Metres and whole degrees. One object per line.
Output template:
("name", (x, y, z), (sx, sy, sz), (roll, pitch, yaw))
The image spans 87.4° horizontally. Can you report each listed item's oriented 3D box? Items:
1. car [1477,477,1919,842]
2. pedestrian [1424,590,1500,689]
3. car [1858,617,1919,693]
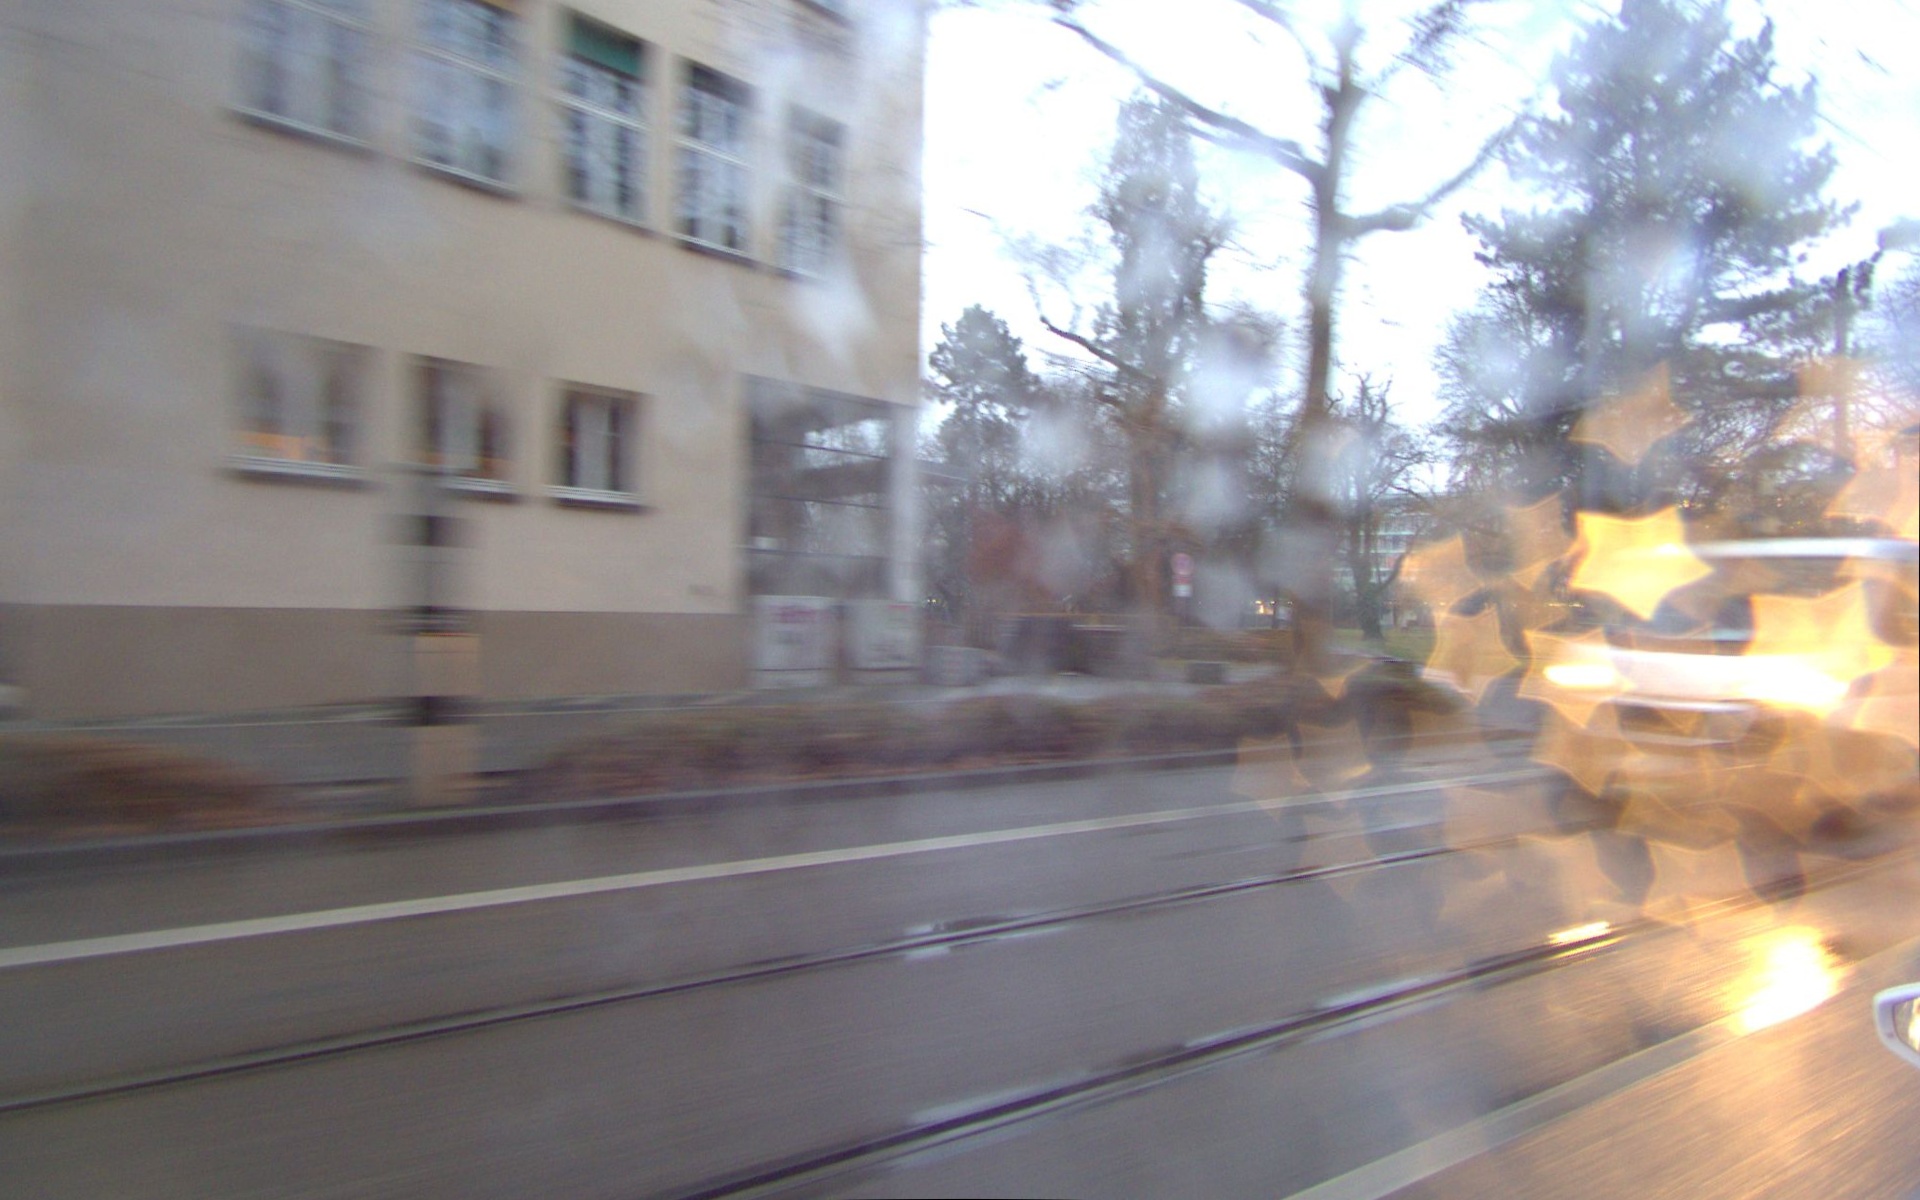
("car", (7.564, 0.483, 9.076), (5.777, 2.378, 2.435), (2, -1, -30))
("pedestrian", (9.688, 0.751, 19.398), (0.997, 1.839, 0.817), (2, 0, -27))
("car", (22.906, 1.302, 23.417), (4.385, 1.637, 1.971), (2, 0, -35))
